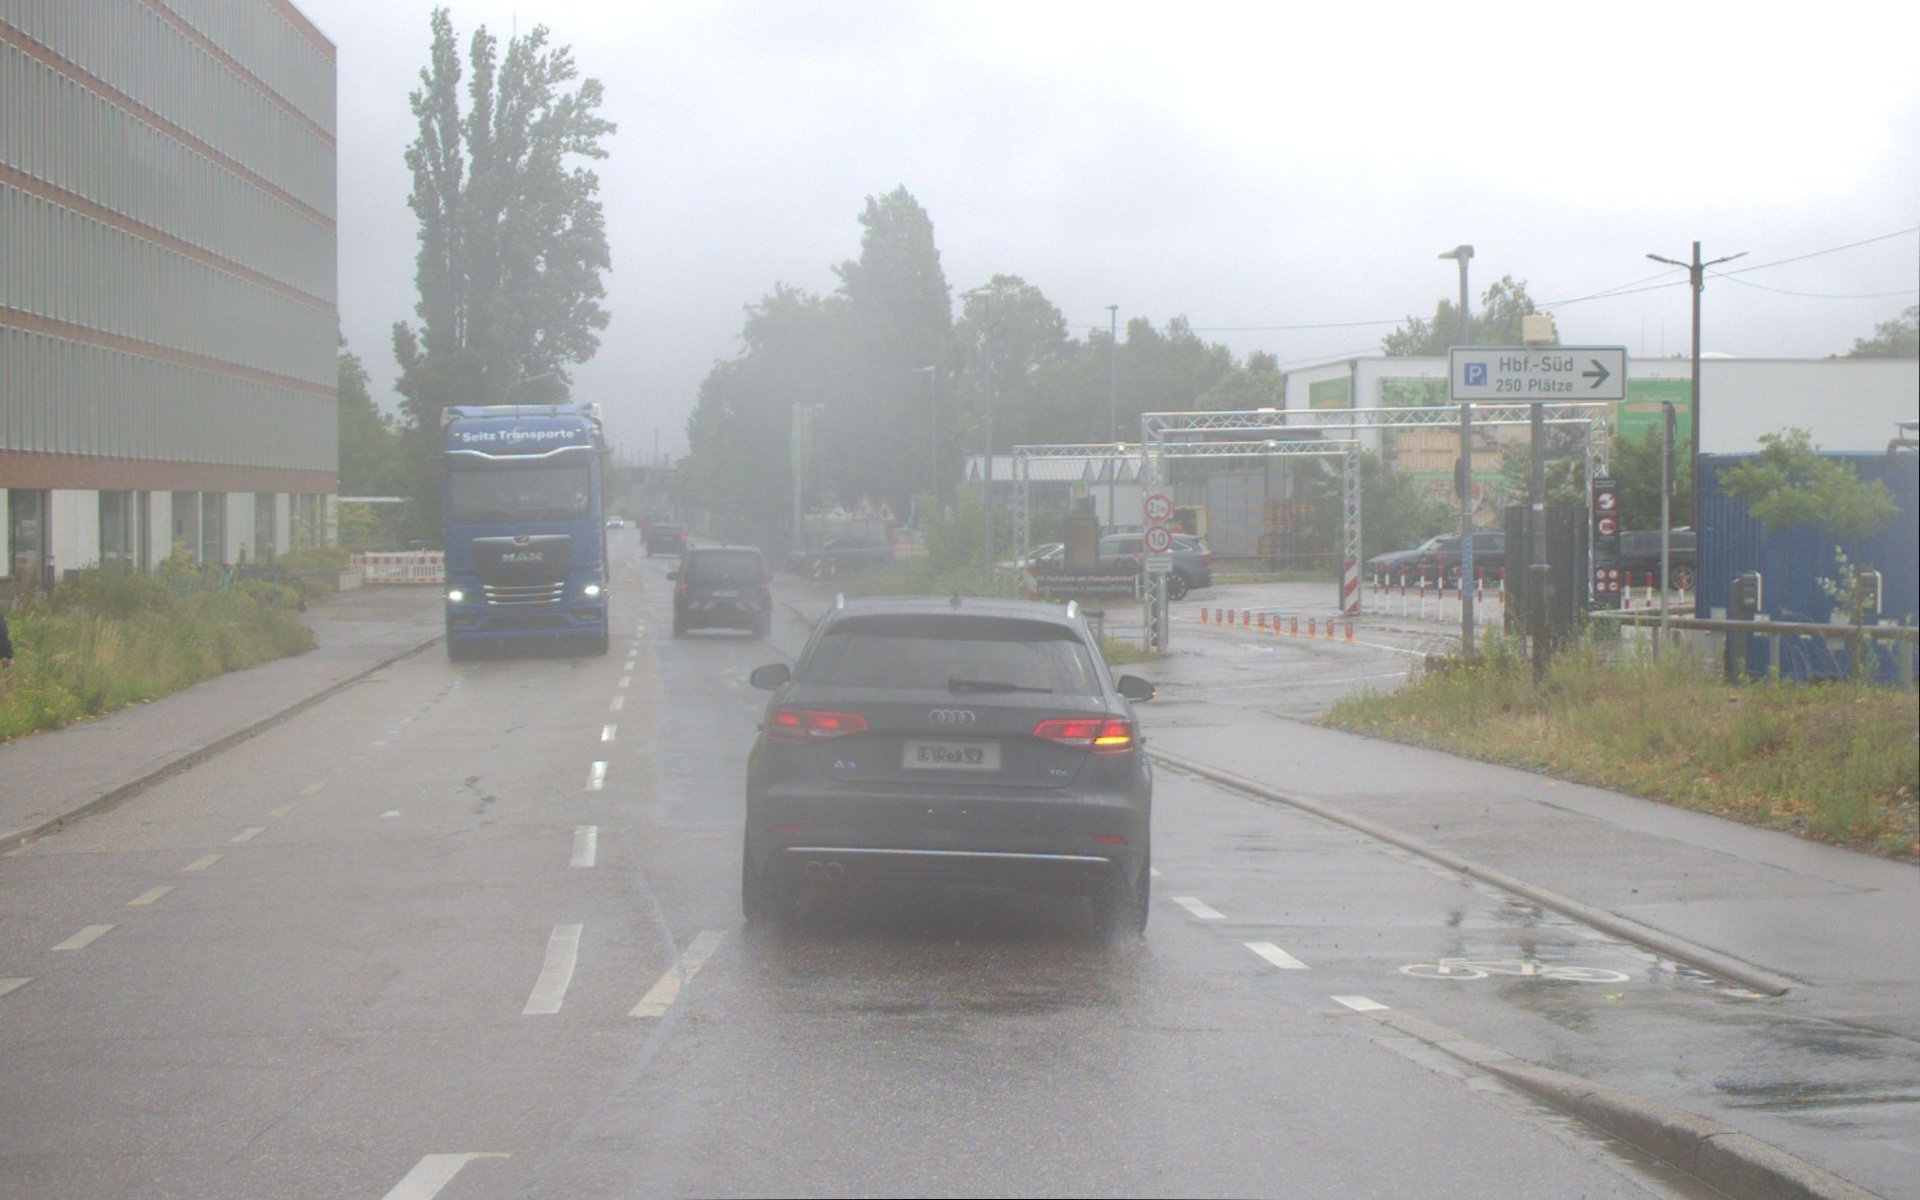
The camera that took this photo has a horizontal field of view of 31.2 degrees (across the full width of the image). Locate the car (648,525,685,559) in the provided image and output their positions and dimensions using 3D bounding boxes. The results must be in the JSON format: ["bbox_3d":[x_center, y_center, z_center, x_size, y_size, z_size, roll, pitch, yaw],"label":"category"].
[{"bbox_3d":[-14.999,-2.956,175.693,1.730,1.681,3.898,0,1,-3],"label":"car"}]

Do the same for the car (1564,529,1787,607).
[{"bbox_3d":[16.569,-0.725,79.653,4.618,1.710,2.020,1,0,-11],"label":"car"}]

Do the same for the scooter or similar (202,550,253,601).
[{"bbox_3d":[-18.029,-0.602,84.656,0.467,1.226,1.205,0,2,37],"label":"scooter or similar"}]

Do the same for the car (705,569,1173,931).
[{"bbox_3d":[-0.065,0.604,16.211,1.894,1.451,4.227,1,0,1],"label":"car"}]

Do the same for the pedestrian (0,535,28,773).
[{"bbox_3d":[-7.389,0.383,25.196,0.908,1.712,1.027,0,1,-5],"label":"pedestrian"}]

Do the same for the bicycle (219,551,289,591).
[{"bbox_3d":[-19.846,-0.809,96.708,1.859,1.073,0.544,2,1,-6],"label":"bicycle"}]

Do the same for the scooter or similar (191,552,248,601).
[{"bbox_3d":[-18.061,-0.580,83.838,1.316,1.173,0.467,-1,1,-17],"label":"scooter or similar"}]

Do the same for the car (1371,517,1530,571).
[{"bbox_3d":[13.466,-1.539,94.536,3.986,1.404,2.000,1,0,-4],"label":"car"}]

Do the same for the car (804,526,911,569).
[{"bbox_3d":[-4.055,-2.065,135.166,4.135,1.563,1.765,1,0,-3],"label":"car"}]

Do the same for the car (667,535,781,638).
[{"bbox_3d":[-4.592,-0.285,66.443,1.993,1.904,4.202,-1,1,-6],"label":"car"}]

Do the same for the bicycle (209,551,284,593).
[{"bbox_3d":[-19.573,-0.767,94.310,1.948,1.073,0.621,2,1,-6],"label":"bicycle"}]

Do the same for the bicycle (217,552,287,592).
[{"bbox_3d":[-19.728,-0.781,95.825,1.859,1.073,0.544,2,1,-6],"label":"bicycle"}]

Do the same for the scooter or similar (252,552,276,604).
[{"bbox_3d":[-16.521,-0.529,81.618,0.466,1.226,1.321,-1,1,-8],"label":"scooter or similar"}]

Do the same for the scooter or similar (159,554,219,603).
[{"bbox_3d":[-18.524,-0.517,82.647,1.316,1.173,0.467,-1,1,1],"label":"scooter or similar"}]

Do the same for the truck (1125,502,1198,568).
[{"bbox_3d":[8.422,-2.753,144.513,2.301,2.650,7.417,-1,2,-2],"label":"truck"}]

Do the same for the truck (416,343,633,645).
[{"bbox_3d":[-7.067,-1.690,55.959,3.293,4.638,6.034,0,1,-7],"label":"truck"}]

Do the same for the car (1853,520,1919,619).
[{"bbox_3d":[16.702,-0.555,55.989,3.774,1.578,1.786,-2,0,-2],"label":"car"}]

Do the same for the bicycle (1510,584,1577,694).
[{"bbox_3d":[6.020,0.393,35.435,0.507,1.080,1.702,0,1,16],"label":"bicycle"}]

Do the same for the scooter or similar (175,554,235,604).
[{"bbox_3d":[-18.033,-0.499,82.143,1.316,1.173,0.467,-1,1,1],"label":"scooter or similar"}]

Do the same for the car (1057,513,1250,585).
[{"bbox_3d":[4.834,-1.281,86.495,4.681,1.729,2.128,-1,0,-1],"label":"car"}]

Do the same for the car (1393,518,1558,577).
[{"bbox_3d":[13.714,-1.394,91.558,3.986,1.480,2.000,1,0,-4],"label":"car"}]
